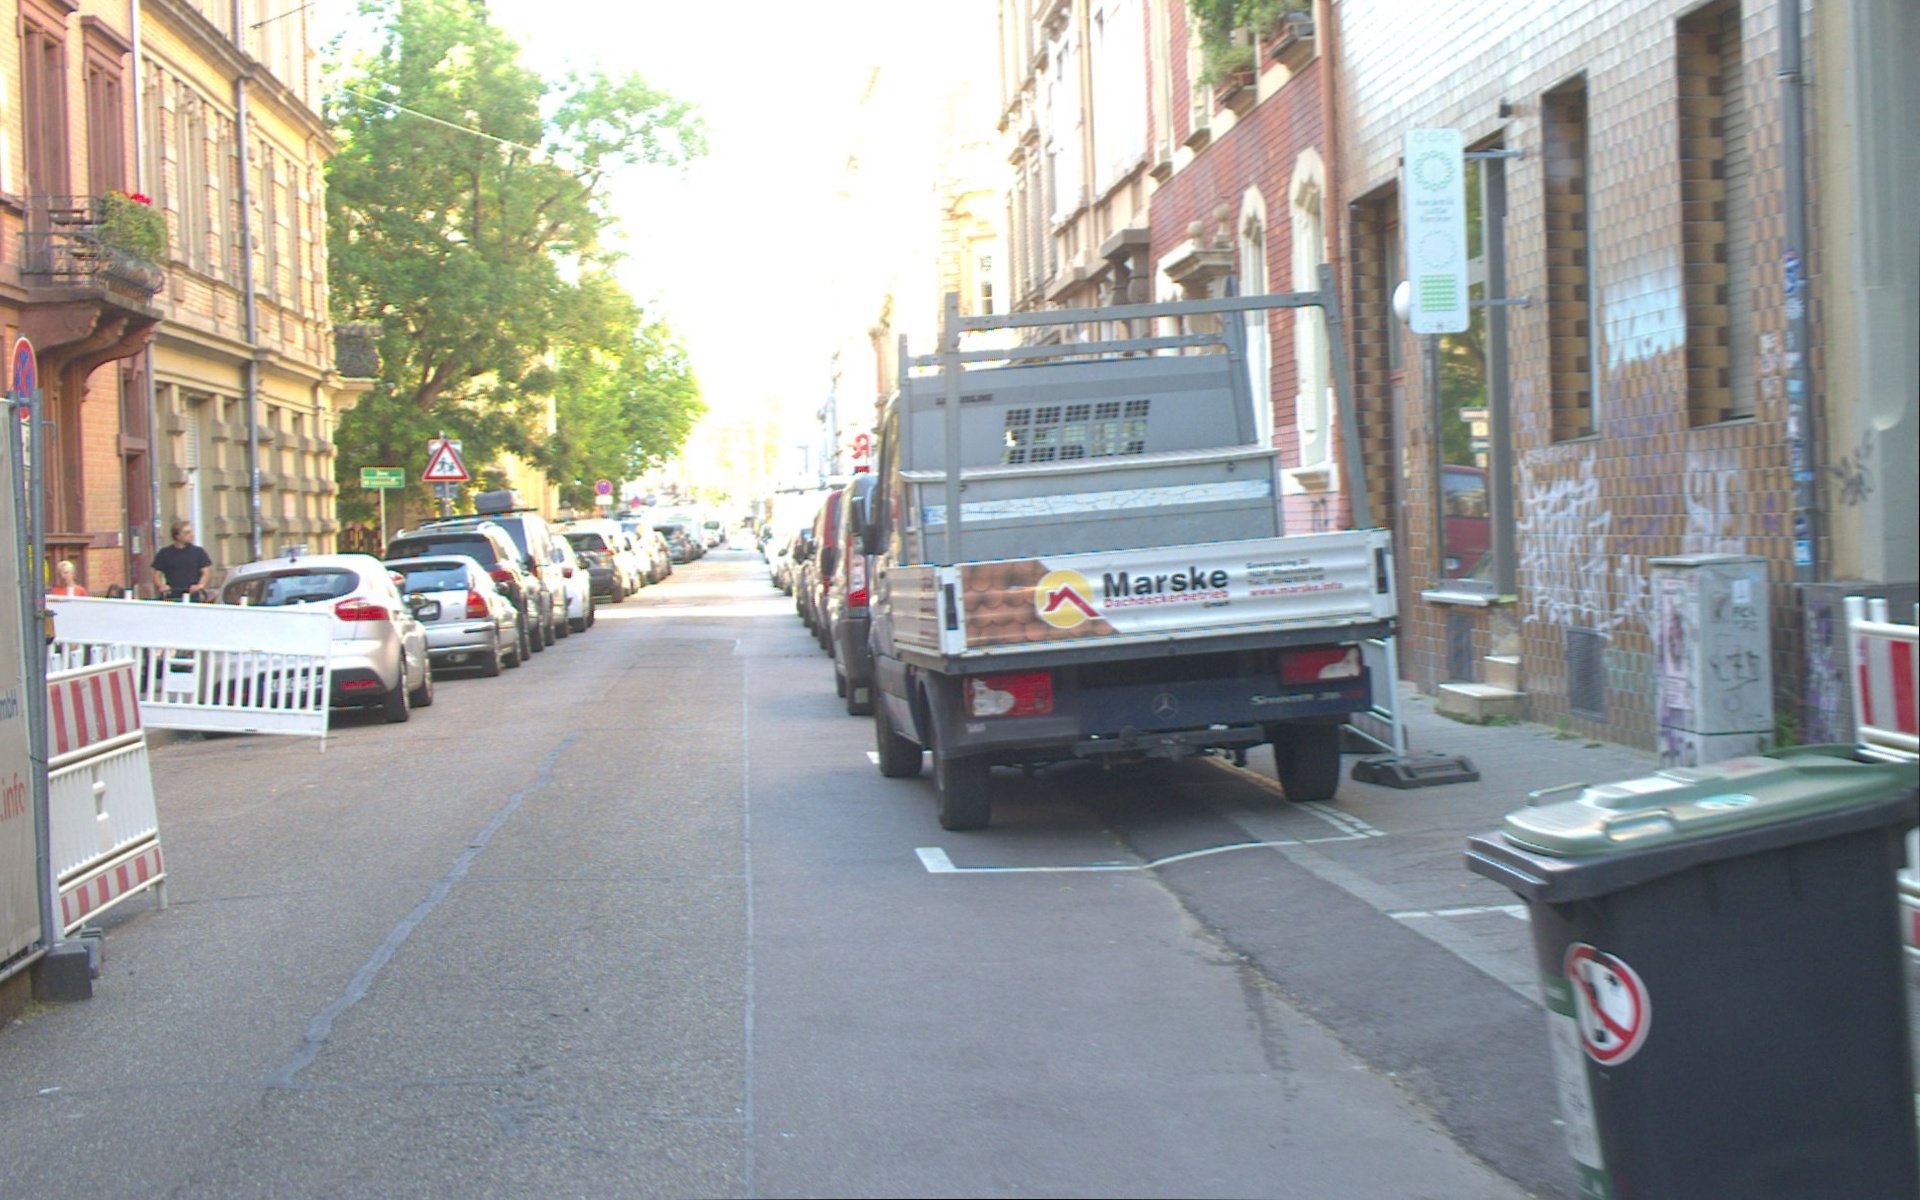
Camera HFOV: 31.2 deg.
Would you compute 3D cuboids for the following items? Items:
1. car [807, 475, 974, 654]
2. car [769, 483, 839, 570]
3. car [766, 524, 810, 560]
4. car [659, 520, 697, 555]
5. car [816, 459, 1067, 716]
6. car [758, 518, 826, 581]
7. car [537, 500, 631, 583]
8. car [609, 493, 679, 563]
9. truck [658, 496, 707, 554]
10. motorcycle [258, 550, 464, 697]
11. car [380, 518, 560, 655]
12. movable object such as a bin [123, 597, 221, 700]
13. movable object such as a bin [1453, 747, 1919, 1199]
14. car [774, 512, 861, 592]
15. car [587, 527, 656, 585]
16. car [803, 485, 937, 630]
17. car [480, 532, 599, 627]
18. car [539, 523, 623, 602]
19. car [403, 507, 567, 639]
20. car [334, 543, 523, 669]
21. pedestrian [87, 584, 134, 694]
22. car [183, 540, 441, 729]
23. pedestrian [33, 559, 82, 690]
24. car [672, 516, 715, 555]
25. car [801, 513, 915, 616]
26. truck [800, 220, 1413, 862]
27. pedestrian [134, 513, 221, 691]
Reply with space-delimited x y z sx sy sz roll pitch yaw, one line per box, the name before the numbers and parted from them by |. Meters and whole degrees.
car | -0.894 -0.457 41.438 1.832 2.007 4.742 -1 1 -3
car | -4.933 -2.330 108.130 2.068 2.602 5.889 -2 2 -3
car | -7.625 -2.594 152.353 1.897 1.483 3.870 -2 1 -3
car | -15.246 -3.390 185.847 1.875 1.790 4.001 -2 1 -6
car | -0.238 -0.148 28.825 1.844 1.977 4.577 0 1 -4
car | -4.566 -1.372 93.458 1.807 1.684 4.215 0 1 -3
car | -8.965 -1.430 82.151 1.845 1.856 4.466 -2 2 -2
car | -9.565 -2.190 104.210 1.864 1.950 4.611 -4 1 -4
truck | -16.315 -4.426 202.391 2.532 3.270 6.995 -2 1 -3
motorcycle | -6.121 0.252 35.055 2.195 1.355 0.842 -3 2 45
car | -6.165 -0.213 43.706 1.788 1.619 4.608 -1 1 -2
movable object such as a bin | -7.751 0.467 33.865 0.761 0.929 1.416 -2 1 -7
movable object such as a bin | 1.275 0.813 5.687 0.740 1.053 0.687 -3 1 -3
car | -3.292 -1.112 78.734 1.703 1.708 3.939 -3 2 -5
car | -9.628 -1.271 98.040 1.742 1.581 3.869 -2 1 -3
car | -1.324 -0.623 48.849 1.769 1.954 4.265 -1 1 -3
car | -6.553 -0.351 53.813 1.674 1.415 3.875 -1 1 -5
car | -8.420 -0.852 76.653 1.740 1.641 4.290 -3 1 -5
car | -6.748 -0.415 49.261 1.892 1.778 4.608 -1 1 -3
car | -5.926 0.032 38.683 1.698 1.309 4.001 1 1 -3
pedestrian | -8.531 0.391 34.529 0.393 1.083 0.432 -2 1 -8
car | -5.559 0.243 29.911 1.674 1.414 4.001 -4 1 -4
pedestrian | -9.073 0.242 34.564 0.393 1.302 0.432 -2 1 -8
car | -12.683 -3.090 164.074 1.875 1.790 4.001 -2 1 -3
car | -1.644 -0.593 54.277 1.666 1.474 3.888 -2 2 -3
truck | 0.524 -0.336 18.481 2.148 2.648 6.255 -6 2 -6
pedestrian | -7.961 0.007 35.000 0.685 1.759 0.887 -3 1 -6
